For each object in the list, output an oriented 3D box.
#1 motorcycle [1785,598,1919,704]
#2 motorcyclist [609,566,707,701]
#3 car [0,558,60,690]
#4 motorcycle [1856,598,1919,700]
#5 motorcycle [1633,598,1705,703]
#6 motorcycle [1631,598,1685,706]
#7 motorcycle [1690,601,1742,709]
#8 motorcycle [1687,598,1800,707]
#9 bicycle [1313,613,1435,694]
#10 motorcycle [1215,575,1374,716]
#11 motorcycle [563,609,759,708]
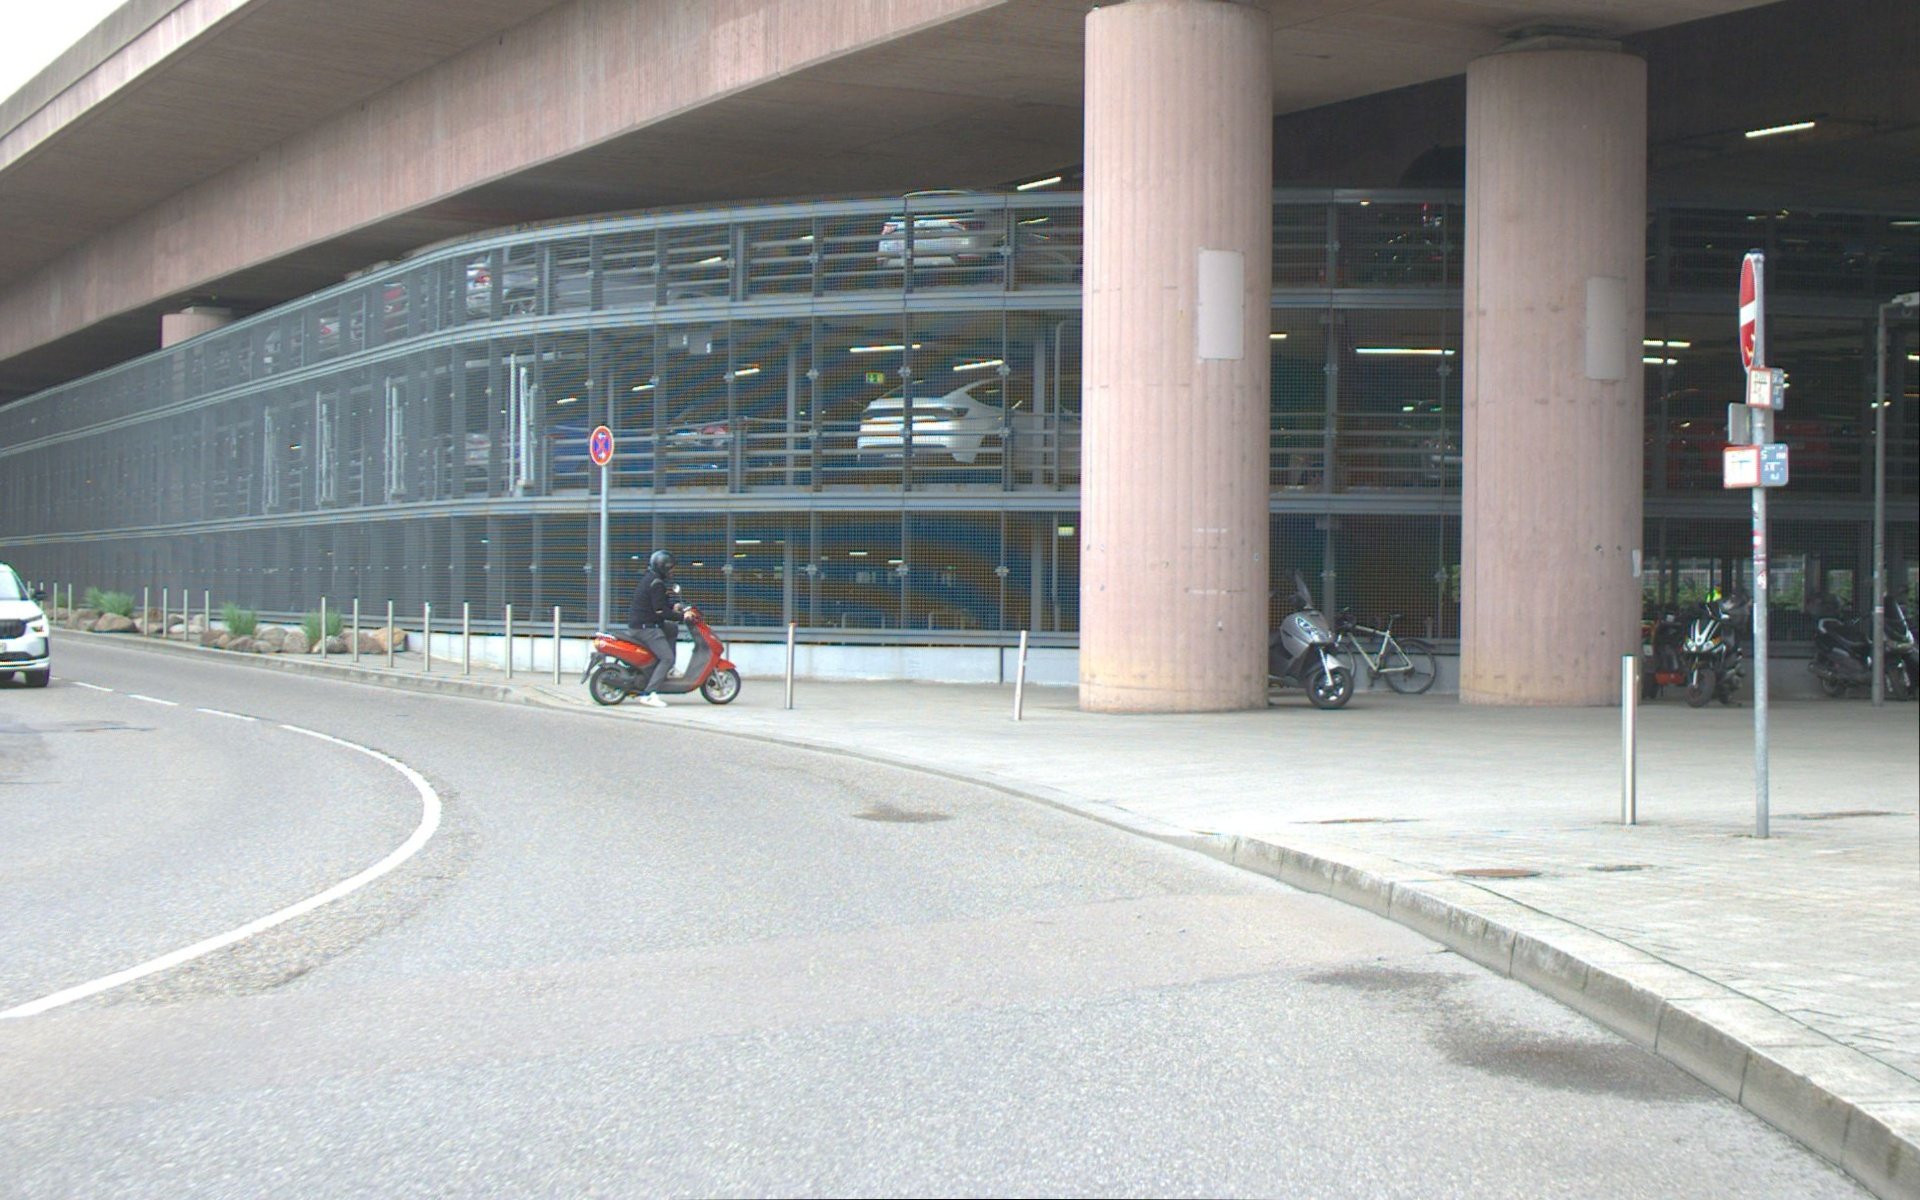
[{"bbox_3d":[11.127,0.612,42.579,0.672,1.216,2.079,0,2,-22],"label":"motorcycle"},{"bbox_3d":[-3.240,0.353,36.796,0.867,1.414,0.764,0,1,-20],"label":"motorcyclist"},{"bbox_3d":[-13.267,0.315,45.524,1.864,1.678,4.406,0,0,-25],"label":"car"},{"bbox_3d":[12.094,0.619,42.819,0.672,1.216,2.079,0,2,-22],"label":"motorcycle"},{"bbox_3d":[8.596,0.601,41.708,0.520,1.216,1.150,1,1,-5],"label":"motorcycle"},{"bbox_3d":[8.187,0.602,40.353,0.520,1.216,1.150,1,1,8],"label":"motorcycle"},{"bbox_3d":[8.353,0.614,37.989,0.520,1.167,1.149,1,-1,13],"label":"motorcycle"},{"bbox_3d":[9.415,0.621,41.387,0.829,1.216,2.079,1,1,-1],"label":"motorcycle"},{"bbox_3d":[5.191,0.667,43.151,1.472,0.973,0.452,1,1,3],"label":"bicycle"},{"bbox_3d":[3.603,0.473,37.106,0.642,1.450,1.762,0,2,-39],"label":"motorcycle"},{"bbox_3d":[-3.200,0.623,36.816,1.949,1.019,0.749,0,2,-20],"label":"motorcycle"}]
